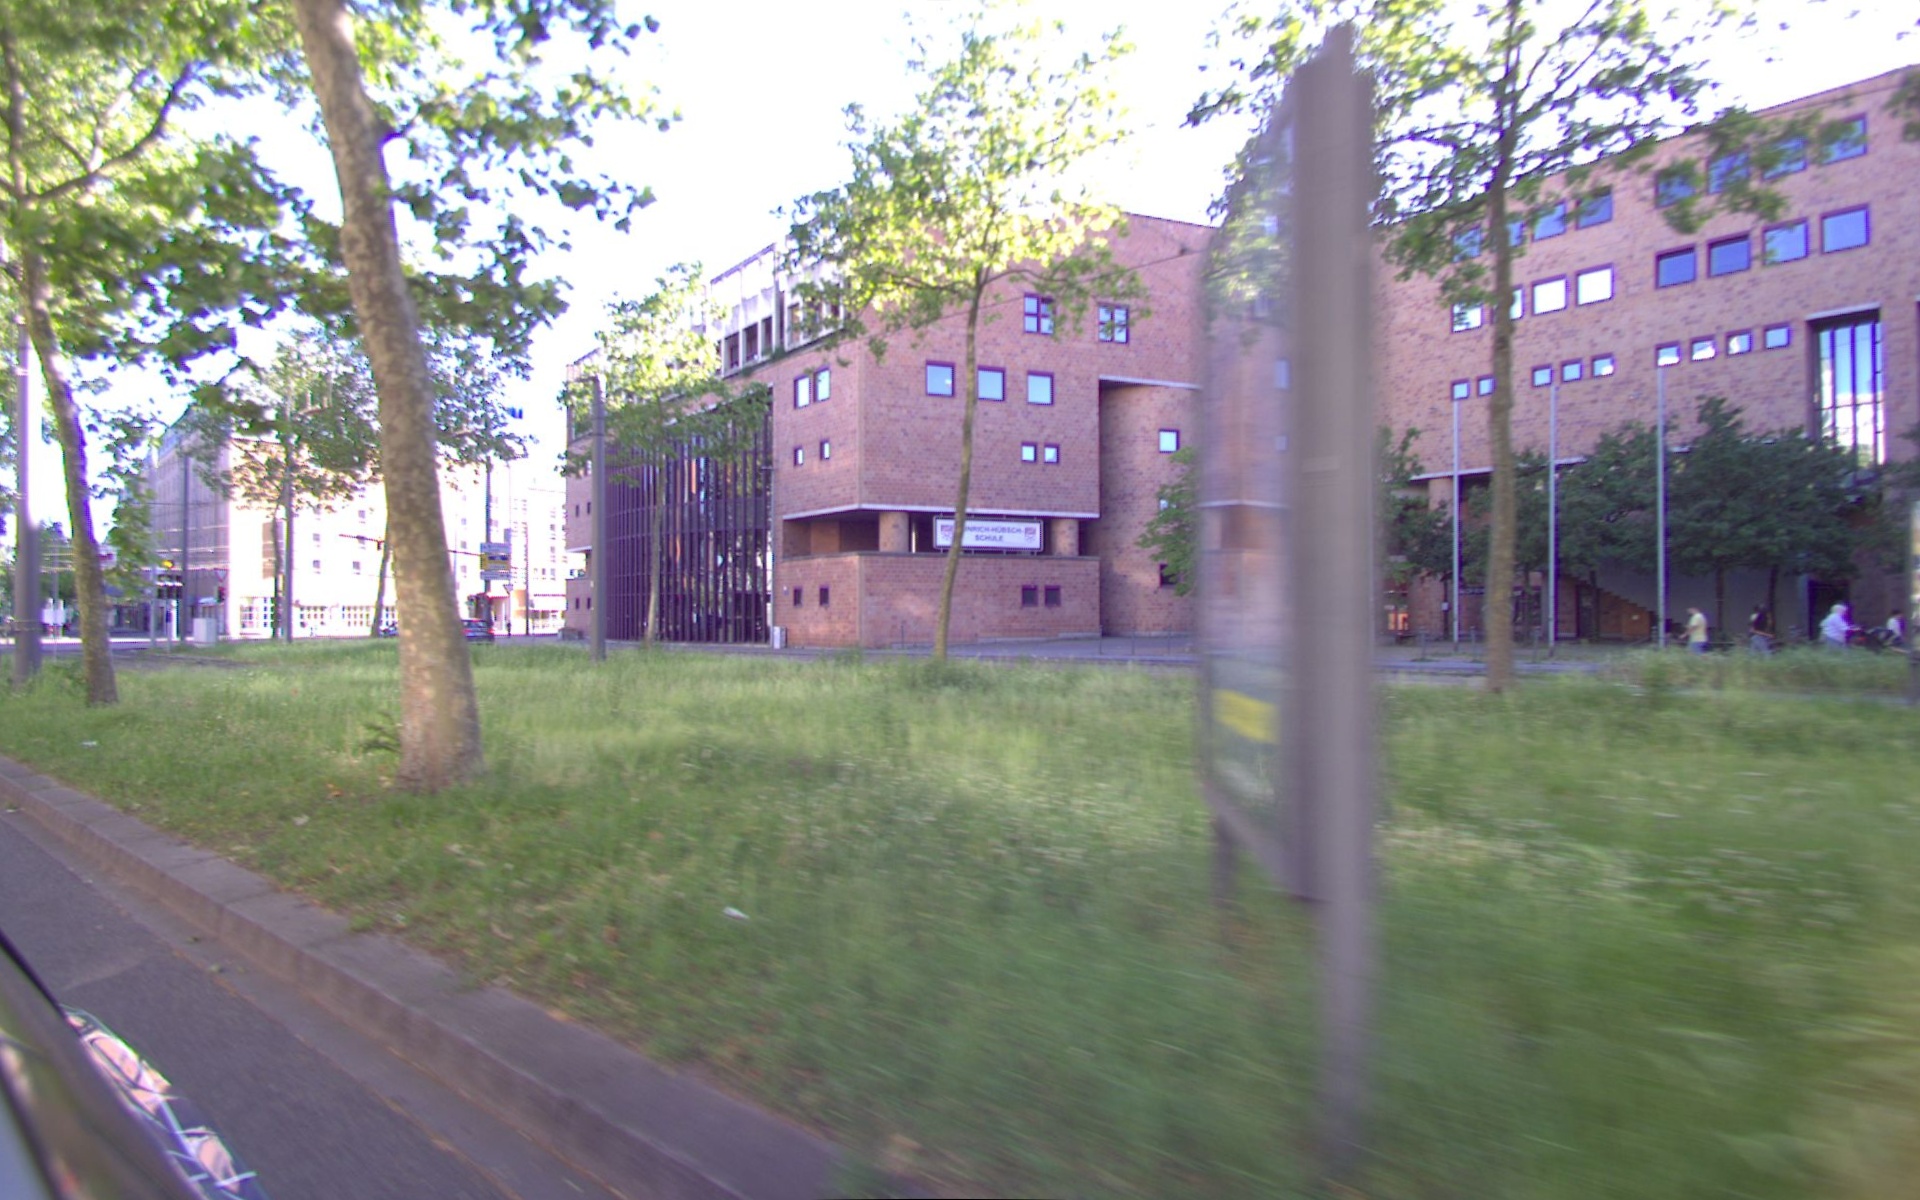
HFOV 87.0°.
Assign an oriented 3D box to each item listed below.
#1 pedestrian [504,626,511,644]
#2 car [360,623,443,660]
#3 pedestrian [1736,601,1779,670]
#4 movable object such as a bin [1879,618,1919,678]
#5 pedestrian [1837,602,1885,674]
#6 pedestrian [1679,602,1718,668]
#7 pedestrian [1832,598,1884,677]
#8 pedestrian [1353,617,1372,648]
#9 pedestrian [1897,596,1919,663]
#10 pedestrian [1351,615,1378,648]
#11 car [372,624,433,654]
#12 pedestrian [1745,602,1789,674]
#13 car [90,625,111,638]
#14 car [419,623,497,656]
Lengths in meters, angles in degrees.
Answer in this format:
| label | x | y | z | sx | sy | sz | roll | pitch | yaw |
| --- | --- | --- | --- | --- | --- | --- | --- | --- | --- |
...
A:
| label | x | y | z | sx | sy | sz | roll | pitch | yaw |
| --- | --- | --- | --- | --- | --- | --- | --- | --- | --- |
| pedestrian | -38.074 | 2.967 | 85.135 | 0.558 | 1.516 | 0.513 | 0 | -3 | -28 |
| car | -23.209 | 1.713 | 42.036 | 4.145 | 1.440 | 1.597 | -2 | -2 | 39 |
| pedestrian | 19.221 | 0.857 | 24.392 | 0.756 | 1.629 | 0.657 | -2 | -2 | 41 |
| movable object such as a bin | 20.707 | 1.046 | 22.196 | 0.756 | 1.289 | 0.352 | -2 | -2 | 40 |
| pedestrian | 20.735 | 0.860 | 23.306 | 0.756 | 1.629 | 0.657 | -2 | -2 | 39 |
| pedestrian | 17.570 | 0.828 | 24.077 | 0.411 | 1.555 | 0.654 | 0 | -2 | -41 |
| pedestrian | 20.145 | 0.838 | 22.720 | 0.796 | 1.735 | 0.657 | -2 | -2 | 39 |
| pedestrian | 16.296 | 1.315 | 40.950 | 0.628 | 1.207 | 0.659 | -1 | -1 | 30 |
| pedestrian | 21.968 | 0.675 | 23.330 | 0.463 | 1.517 | 0.478 | -2 | -2 | 37 |
| pedestrian | 15.982 | 1.236 | 39.994 | 0.654 | 1.260 | 0.759 | 0 | -1 | -18 |
| car | -27.874 | 1.943 | 50.594 | 3.218 | 1.440 | 1.597 | -2 | -2 | 39 |
| pedestrian | 18.861 | 0.881 | 23.655 | 0.756 | 1.629 | 0.657 | -2 | -2 | 39 |
| car | -113.350 | 4.177 | 133.440 | 4.000 | 1.663 | 1.680 | -2 | -1 | 43 |
| car | -23.122 | 1.822 | 46.529 | 4.145 | 1.440 | 1.654 | -2 | -2 | 39 |
